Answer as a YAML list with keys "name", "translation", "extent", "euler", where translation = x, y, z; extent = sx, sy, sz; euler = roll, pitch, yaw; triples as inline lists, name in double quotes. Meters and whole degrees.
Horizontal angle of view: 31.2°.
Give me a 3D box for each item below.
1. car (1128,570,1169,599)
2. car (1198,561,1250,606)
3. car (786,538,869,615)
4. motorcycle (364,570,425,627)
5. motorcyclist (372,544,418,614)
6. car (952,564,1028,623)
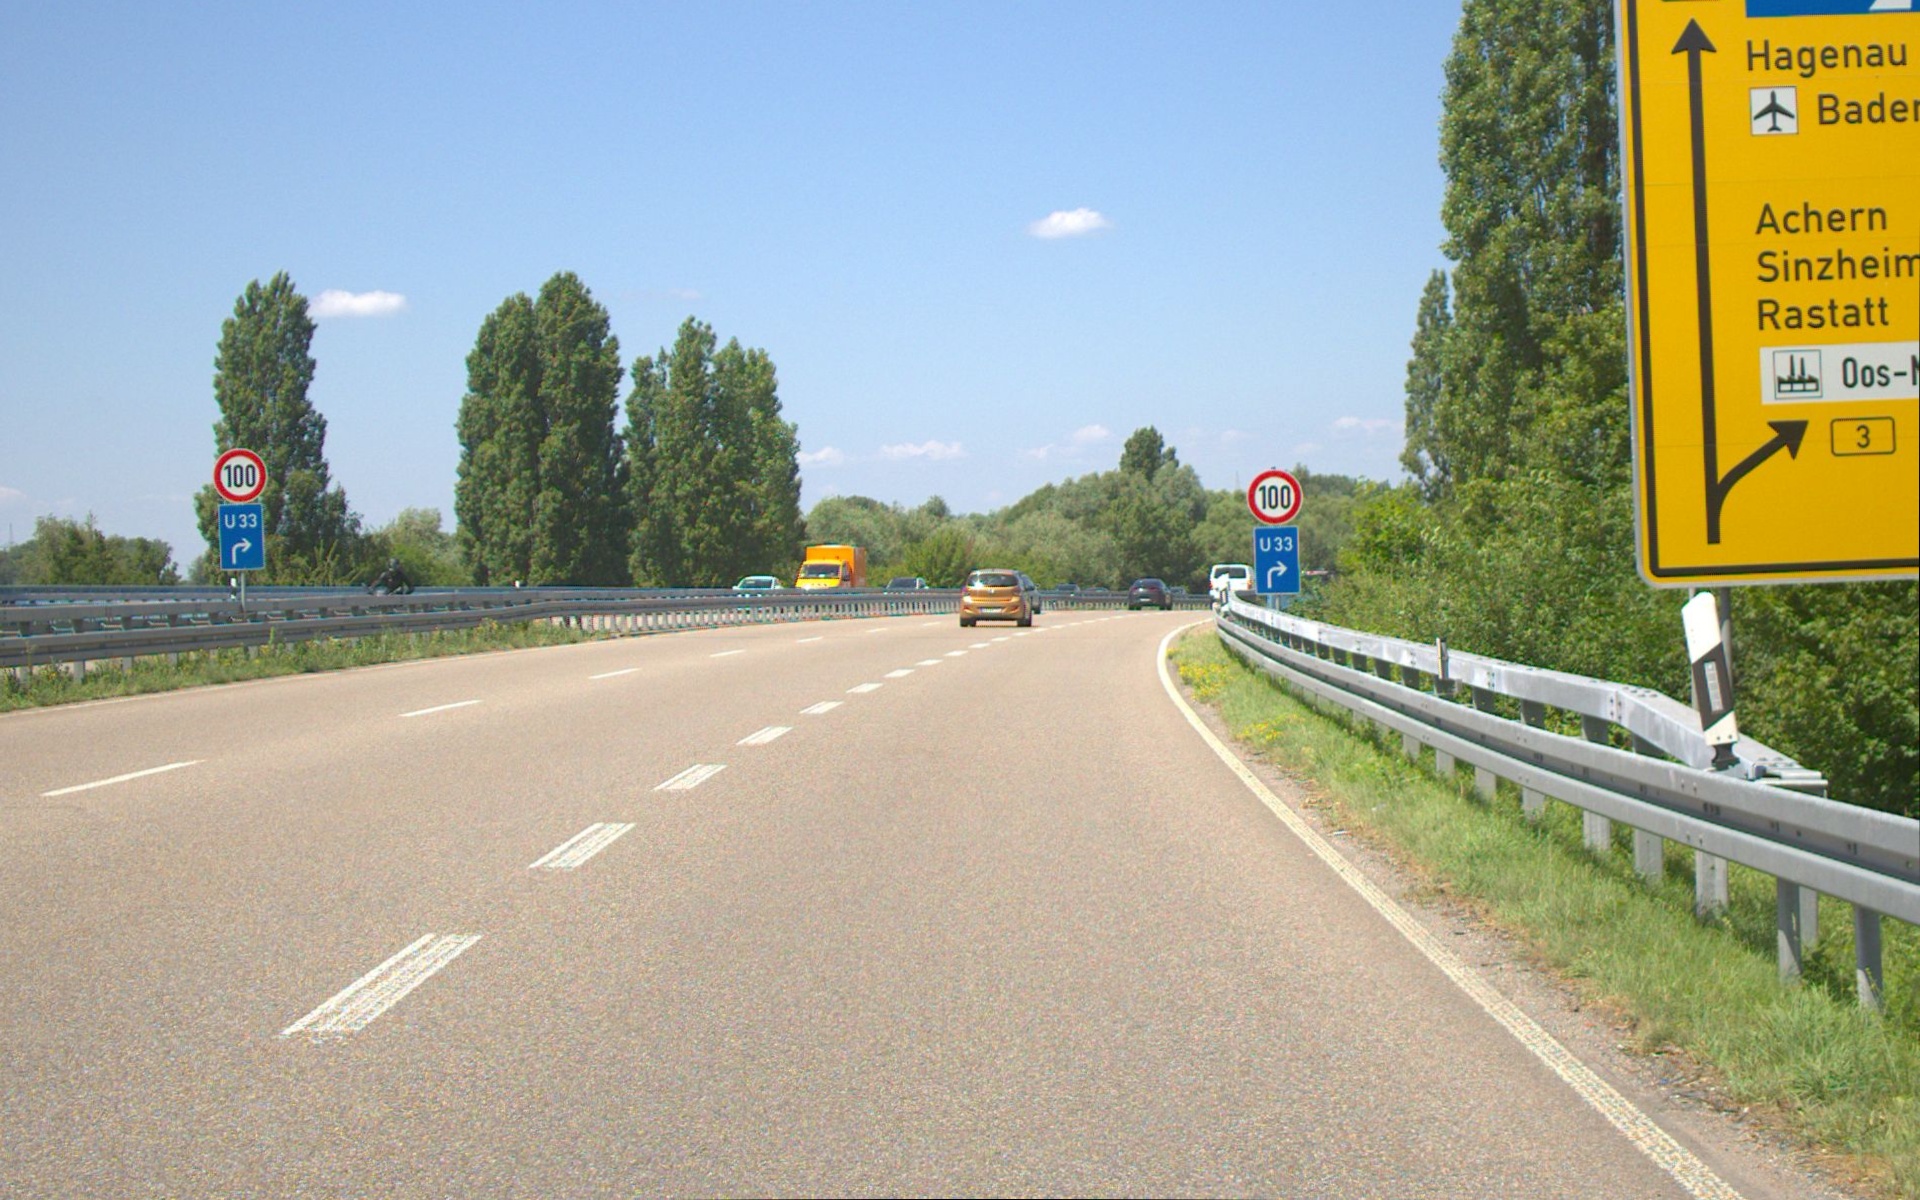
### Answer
- name: "car"
  translation: [9.794, -0.830, 178.755]
  extent: [1.944, 1.459, 3.999]
  euler: [1, 1, 6]
- name: "car"
  translation: [11.313, -0.709, 147.365]
  extent: [1.842, 1.889, 3.998]
  euler: [1, 1, 10]
- name: "car"
  translation: [-5.776, -1.040, 150.717]
  extent: [2.306, 3.280, 7.026]
  euler: [-1, 0, 9]
- name: "motorcycle"
  translation: [-11.650, -0.019, 70.892]
  extent: [0.791, 1.140, 2.529]
  euler: [-1, -1, 1]
- name: "motorcyclist"
  translation: [-11.645, -0.436, 70.910]
  extent: [0.791, 1.429, 0.767]
  euler: [-1, -1, 1]
- name: "car"
  translation: [0.798, -0.191, 89.335]
  extent: [1.841, 1.459, 4.000]
  euler: [0, 1, 2]
